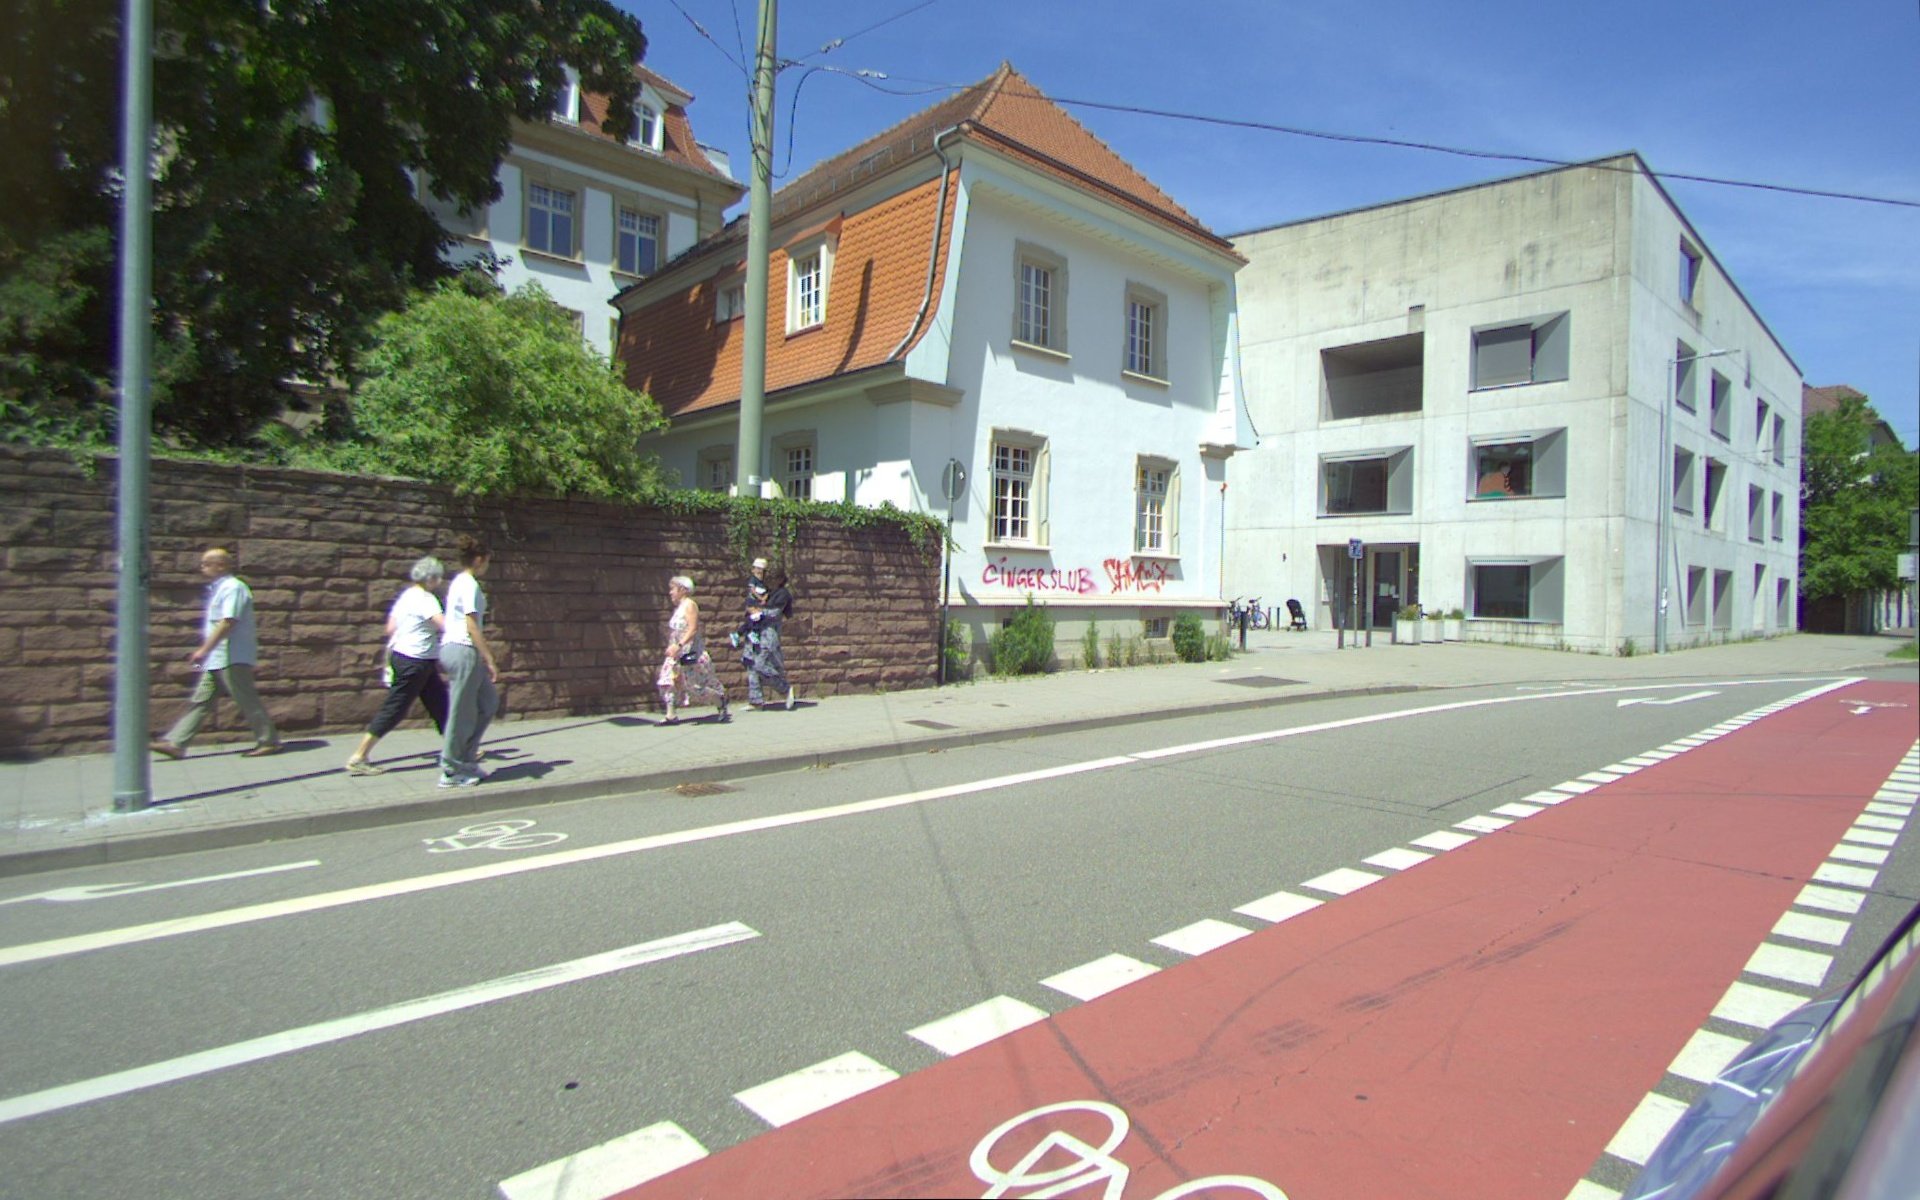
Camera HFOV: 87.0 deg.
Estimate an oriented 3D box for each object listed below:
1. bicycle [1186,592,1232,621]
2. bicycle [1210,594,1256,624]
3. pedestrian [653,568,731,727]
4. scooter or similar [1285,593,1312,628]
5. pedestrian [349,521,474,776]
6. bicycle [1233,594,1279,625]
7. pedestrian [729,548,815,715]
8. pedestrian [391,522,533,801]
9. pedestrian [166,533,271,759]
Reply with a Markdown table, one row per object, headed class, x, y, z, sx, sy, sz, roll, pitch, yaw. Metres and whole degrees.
| class | x | y | z | sx | sy | sz | roll | pitch | yaw |
| --- | --- | --- | --- | --- | --- | --- | --- | --- | --- |
| bicycle | 8.836 | 0.208 | 35.828 | 0.650 | 0.997 | 2.167 | 1 | 1 | 41 |
| bicycle | 9.420 | 0.284 | 34.857 | 0.650 | 0.997 | 2.167 | 1 | 1 | 41 |
| pedestrian | -2.726 | 0.458 | 10.278 | 0.586 | 1.552 | 0.517 | 1 | 0 | -38 |
| scooter or similar | 11.334 | 0.340 | 33.854 | 0.532 | 1.154 | 0.949 | 1 | 1 | 41 |
| pedestrian | -4.245 | 0.341 | 7.818 | 0.687 | 1.830 | 0.816 | 1 | 0 | -38 |
| bicycle | 10.064 | 0.312 | 34.325 | 0.650 | 1.017 | 2.167 | 1 | 1 | 41 |
| pedestrian | -2.141 | 0.327 | 11.502 | 0.717 | 1.794 | 0.619 | 7 | 6 | 44 |
| pedestrian | -3.508 | 0.399 | 7.124 | 0.734 | 1.830 | 0.679 | 1 | 0 | -38 |
| pedestrian | -5.797 | 0.334 | 7.917 | 0.613 | 1.668 | 0.662 | 1 | 0 | -37 |
